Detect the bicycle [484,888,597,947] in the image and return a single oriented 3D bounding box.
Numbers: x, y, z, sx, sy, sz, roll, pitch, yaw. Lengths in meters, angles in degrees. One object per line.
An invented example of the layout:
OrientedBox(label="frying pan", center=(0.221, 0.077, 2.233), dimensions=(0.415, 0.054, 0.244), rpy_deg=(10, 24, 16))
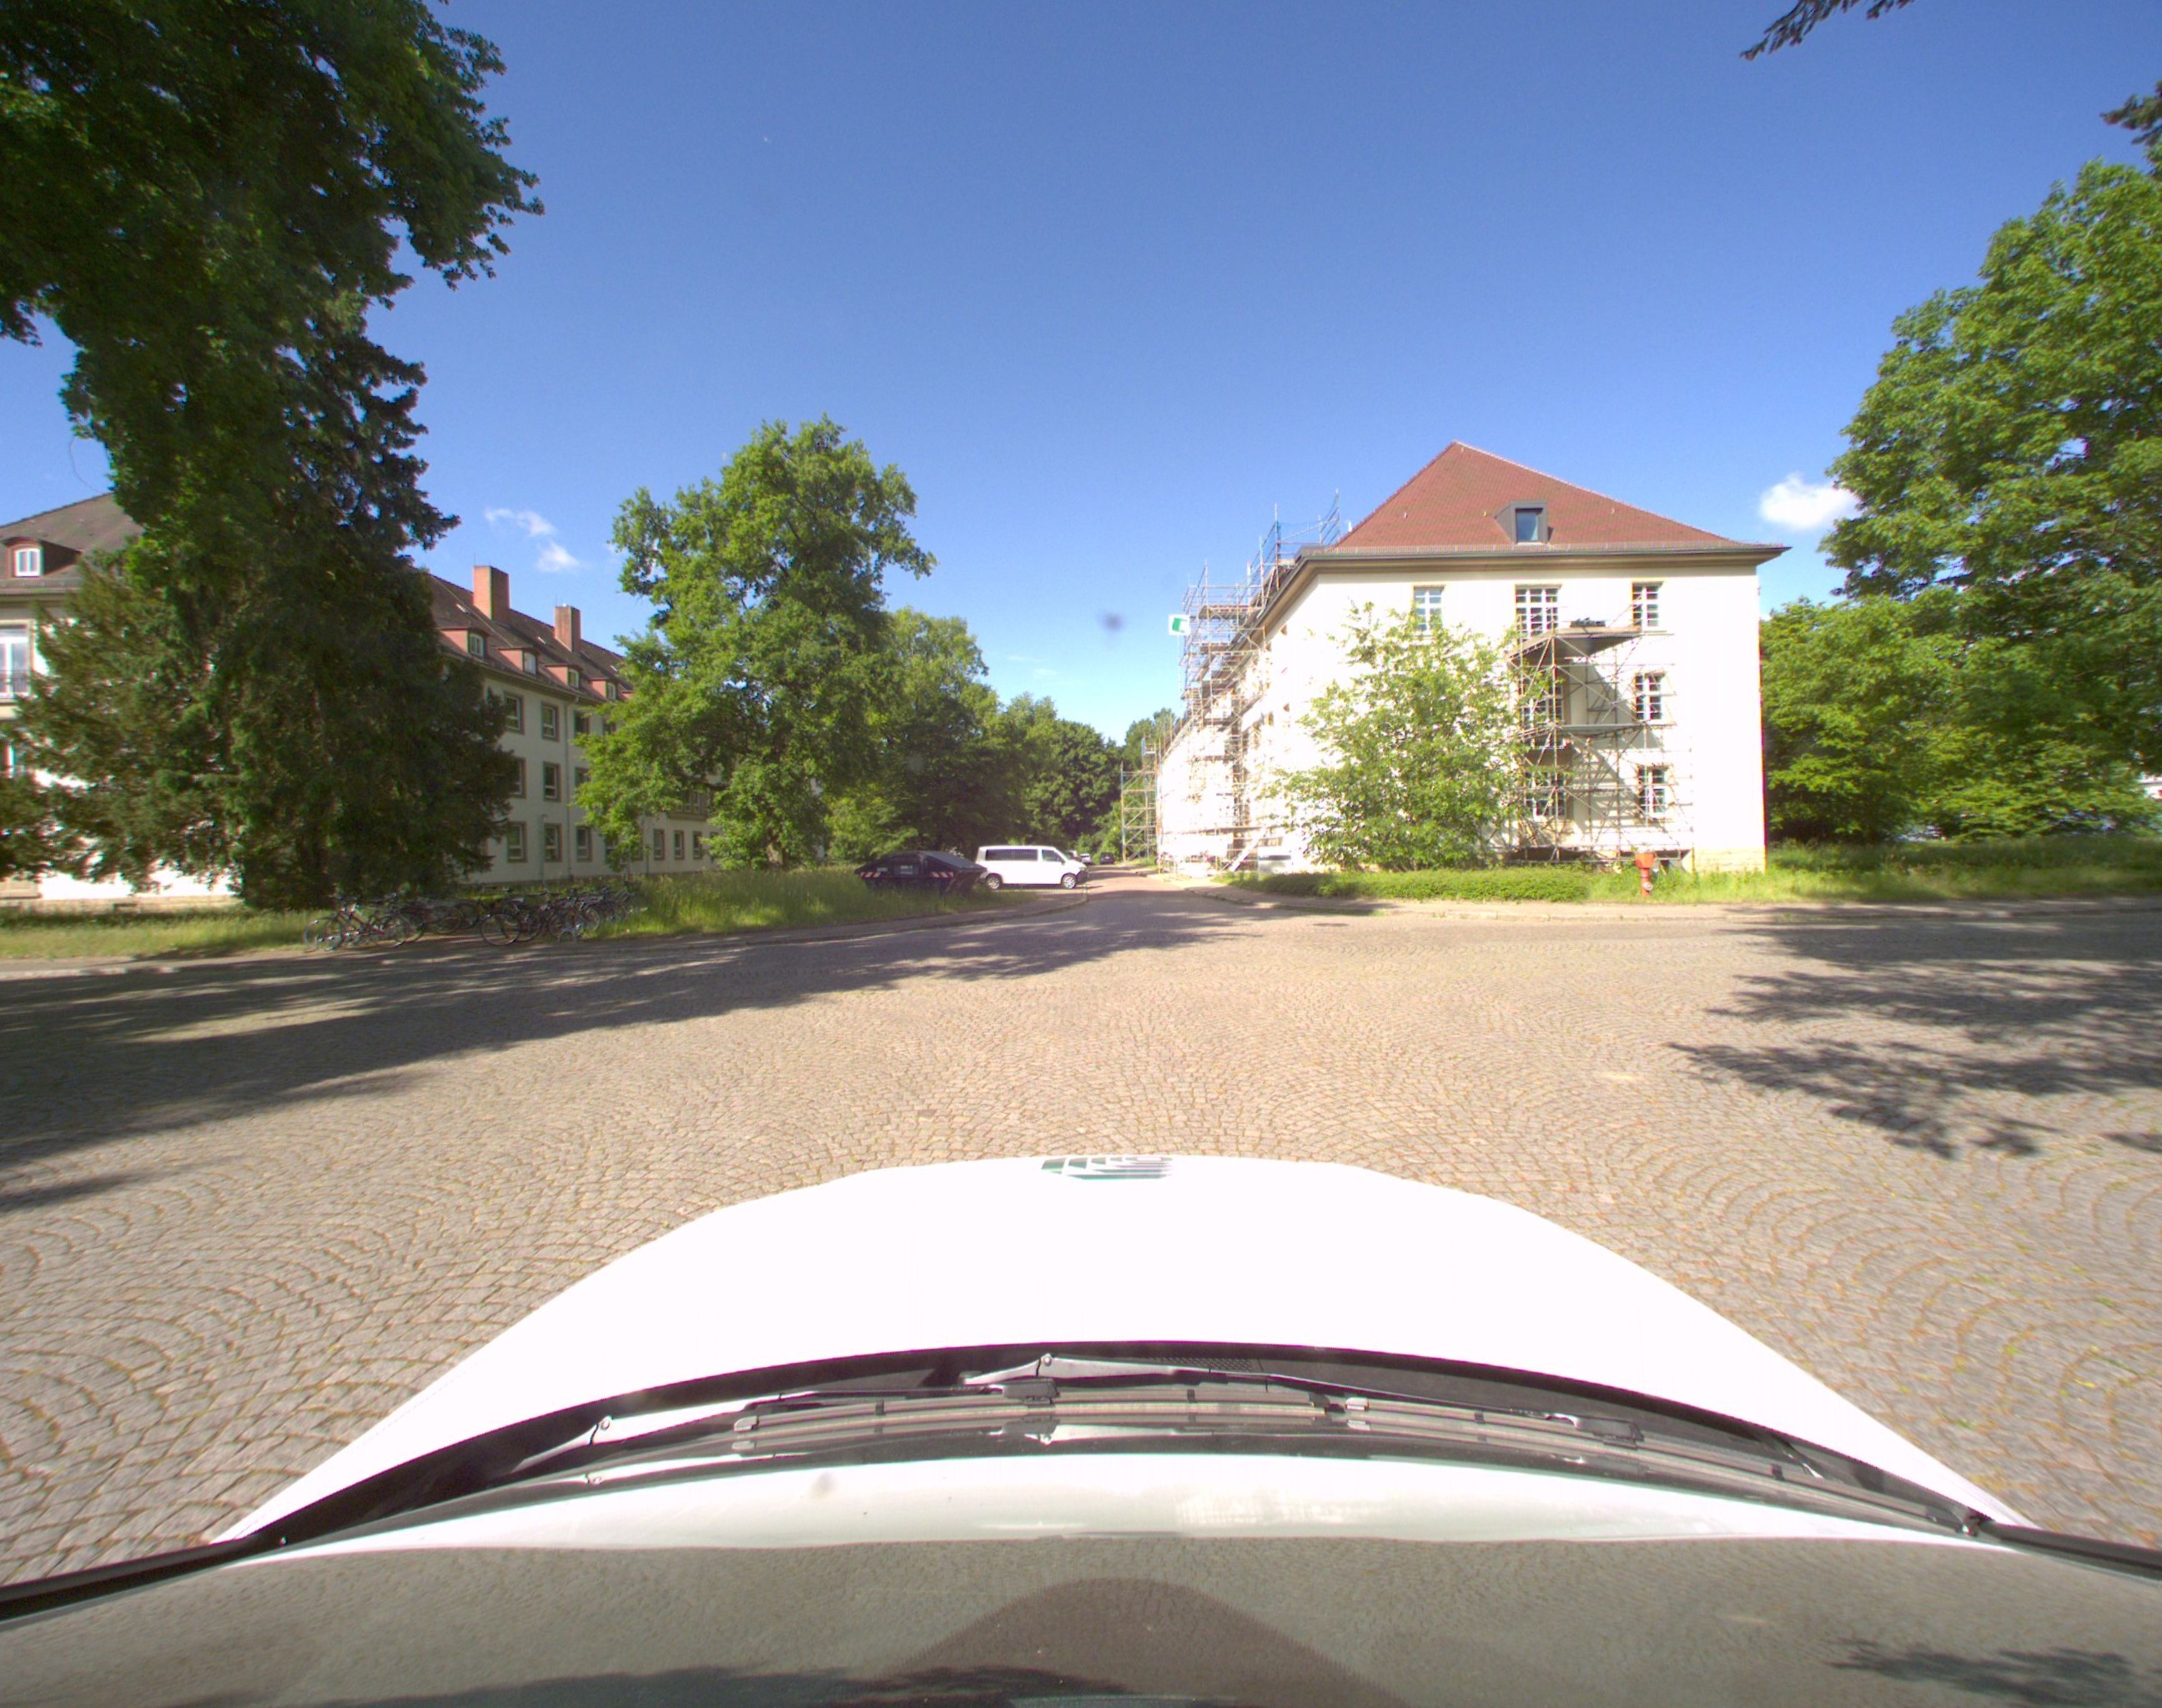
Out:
OrientedBox(label="bicycle", center=(-11.543, 1.330, 17.468), dimensions=(1.925, 1.058, 0.471), rpy_deg=(-4, 1, -29))

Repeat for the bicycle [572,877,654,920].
OrientedBox(label="bicycle", center=(-13.341, 1.267, 23.277), dimensions=(1.920, 1.058, 0.472), rpy_deg=(-4, 0, -21))

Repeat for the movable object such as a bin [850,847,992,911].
OrientedBox(label="movable object such as a bin", center=(-4.738, 0.737, 24.315), dimensions=(3.536, 1.744, 2.034), rpy_deg=(-2, 0, 18))

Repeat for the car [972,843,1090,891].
OrientedBox(label="car", center=(-2.247, 0.569, 37.433), dimensions=(5.219, 2.016, 1.949), rpy_deg=(-1, 0, -1))

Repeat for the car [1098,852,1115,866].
OrientedBox(label="car", center=(3.214, 0.663, 103.785), dimensions=(1.965, 1.668, 4.085), rpy_deg=(-2, 0, 0))

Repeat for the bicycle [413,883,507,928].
OrientedBox(label="bicycle", center=(-16.846, 1.391, 22.135), dimensions=(1.919, 1.103, 0.567), rpy_deg=(-1, 1, -19))

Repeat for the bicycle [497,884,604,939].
OrientedBox(label="bicycle", center=(-11.979, 1.288, 18.455), dimensions=(1.921, 1.058, 0.472), rpy_deg=(-4, 0, -23))

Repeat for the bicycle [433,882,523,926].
OrientedBox(label="bicycle", center=(-17.051, 1.399, 23.078), dimensions=(1.922, 1.103, 0.566), rpy_deg=(-1, 1, -24))

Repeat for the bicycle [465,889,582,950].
OrientedBox(label="bicycle", center=(-11.530, 1.337, 16.913), dimensions=(1.925, 1.058, 0.471), rpy_deg=(-4, 1, -29))

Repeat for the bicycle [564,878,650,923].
OrientedBox(label="bicycle", center=(-13.000, 1.254, 22.376), dimensions=(1.920, 1.058, 0.472), rpy_deg=(-4, 0, -21))

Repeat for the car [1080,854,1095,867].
OrientedBox(label="car", center=(0.818, 0.793, 103.462), dimensions=(1.806, 1.579, 4.133), rpy_deg=(-2, 0, 0))

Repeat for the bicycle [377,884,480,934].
OrientedBox(label="bicycle", center=(-16.422, 1.371, 20.538), dimensions=(1.924, 1.103, 0.565), rpy_deg=(-2, 1, -28))

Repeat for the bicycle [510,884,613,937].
OrientedBox(label="bicycle", center=(-12.085, 1.297, 19.018), dimensions=(1.921, 1.058, 0.472), rpy_deg=(-4, 0, -23))

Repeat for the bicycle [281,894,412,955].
OrientedBox(label="bicycle", center=(-15.368, 1.452, 17.094), dimensions=(1.922, 1.102, 0.566), rpy_deg=(-2, 2, -25))

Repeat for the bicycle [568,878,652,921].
OrientedBox(label="bicycle", center=(-13.180, 1.262, 22.841), dimensions=(1.920, 1.058, 0.472), rpy_deg=(-4, 0, -21))

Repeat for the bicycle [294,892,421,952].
OrientedBox(label="bicycle", center=(-15.581, 1.439, 17.587), dimensions=(1.922, 1.102, 0.566), rpy_deg=(-2, 2, -25))

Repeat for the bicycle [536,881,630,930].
OrientedBox(label="bicycle", center=(-12.571, 1.297, 20.615), dimensions=(1.920, 1.058, 0.472), rpy_deg=(-4, 0, -21))

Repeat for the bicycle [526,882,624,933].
OrientedBox(label="bicycle", center=(-12.267, 1.281, 19.806), dimensions=(1.921, 1.058, 0.472), rpy_deg=(-4, 0, -23))

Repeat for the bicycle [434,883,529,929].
OrientedBox(label="bicycle", center=(-15.881, 1.355, 21.628), dimensions=(1.919, 1.103, 0.567), rpy_deg=(-1, 1, -19))

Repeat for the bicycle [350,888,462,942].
OrientedBox(label="bicycle", center=(-15.897, 1.415, 19.245), dimensions=(1.924, 1.103, 0.565), rpy_deg=(-2, 1, -28))
